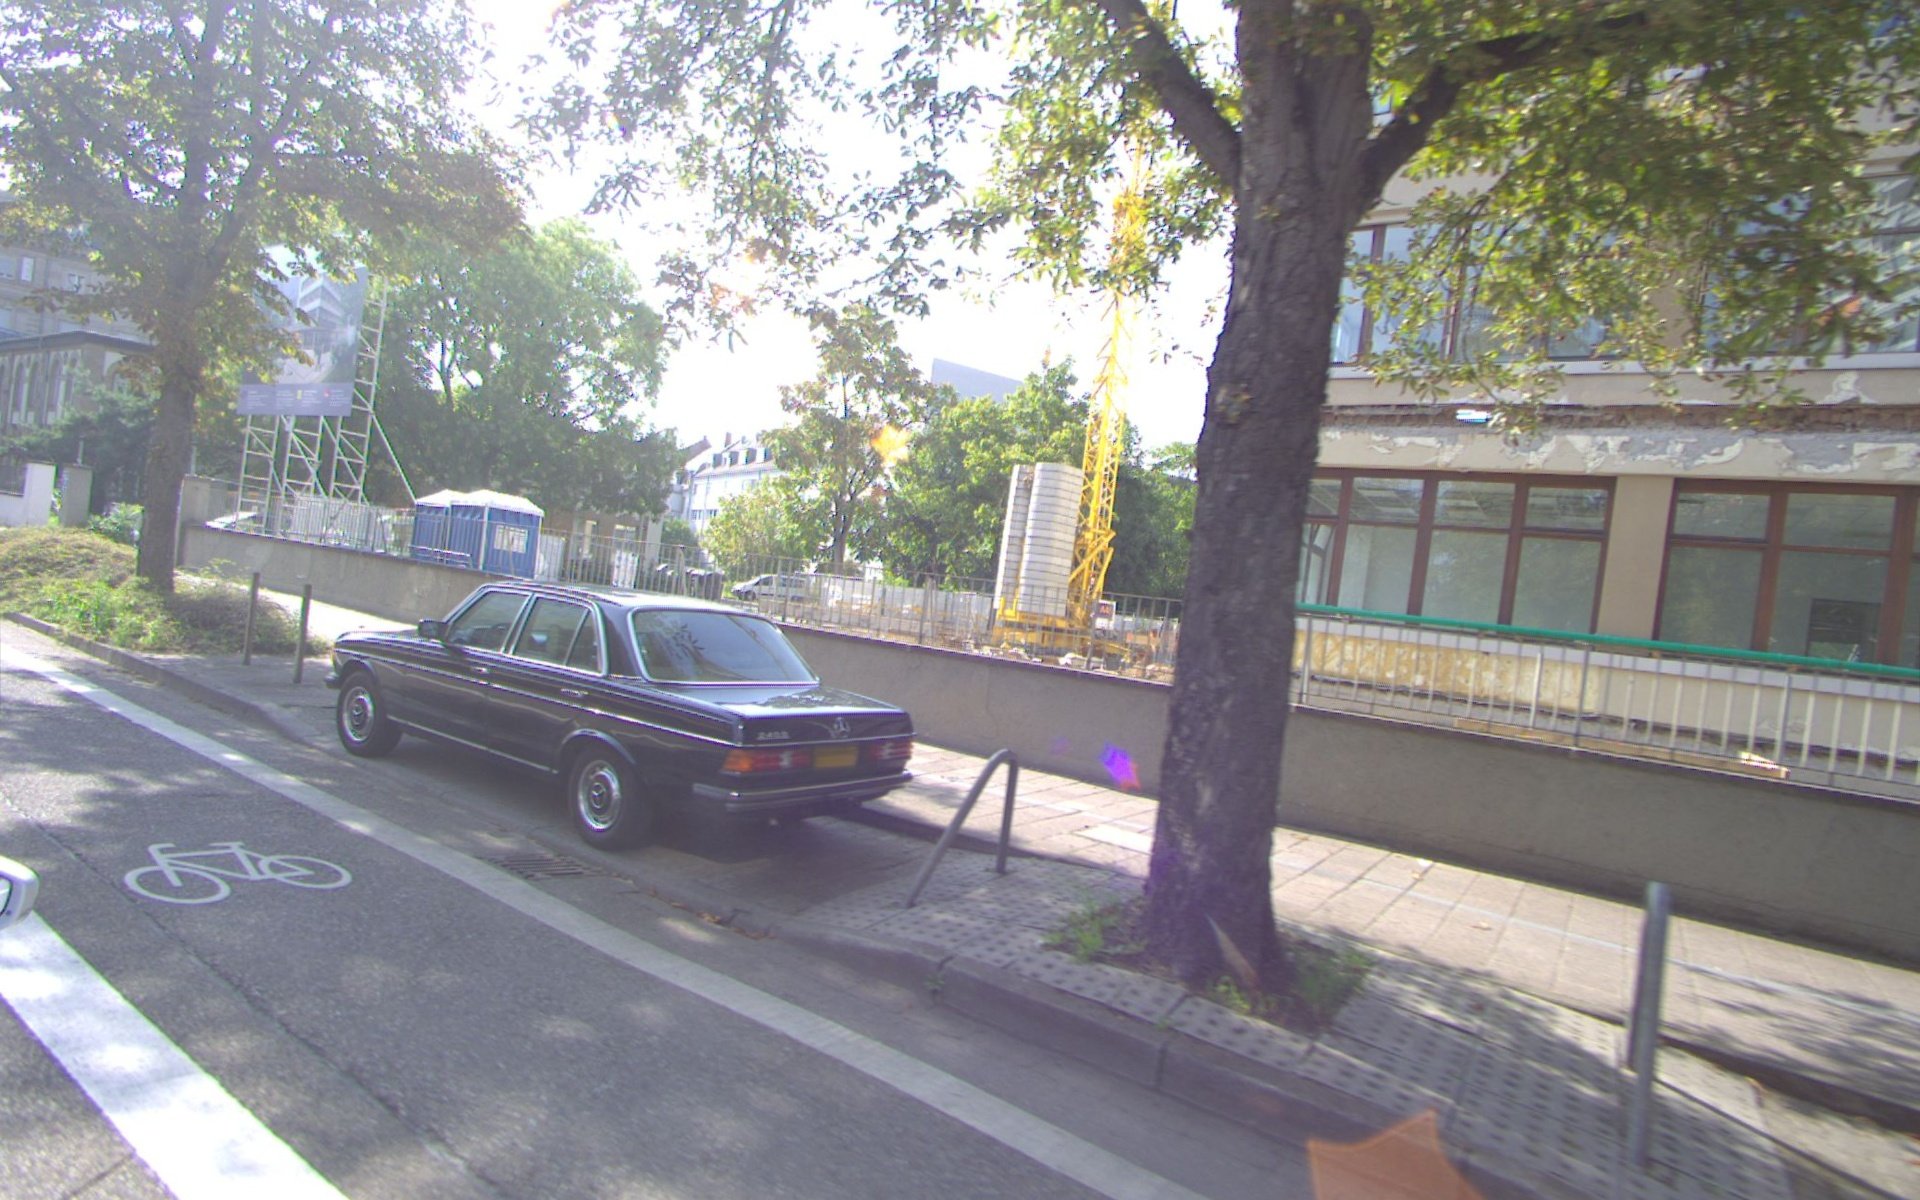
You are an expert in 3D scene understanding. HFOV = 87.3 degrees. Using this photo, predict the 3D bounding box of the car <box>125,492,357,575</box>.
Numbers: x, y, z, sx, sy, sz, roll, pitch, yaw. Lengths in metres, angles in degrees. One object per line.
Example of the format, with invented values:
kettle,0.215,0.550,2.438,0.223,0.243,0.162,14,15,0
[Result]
car,-18.088,-1.639,25.474,1.780,1.427,4.414,9,1,42

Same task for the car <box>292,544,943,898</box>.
car,-2.572,0.575,6.977,4.643,1.395,1.753,8,2,34
